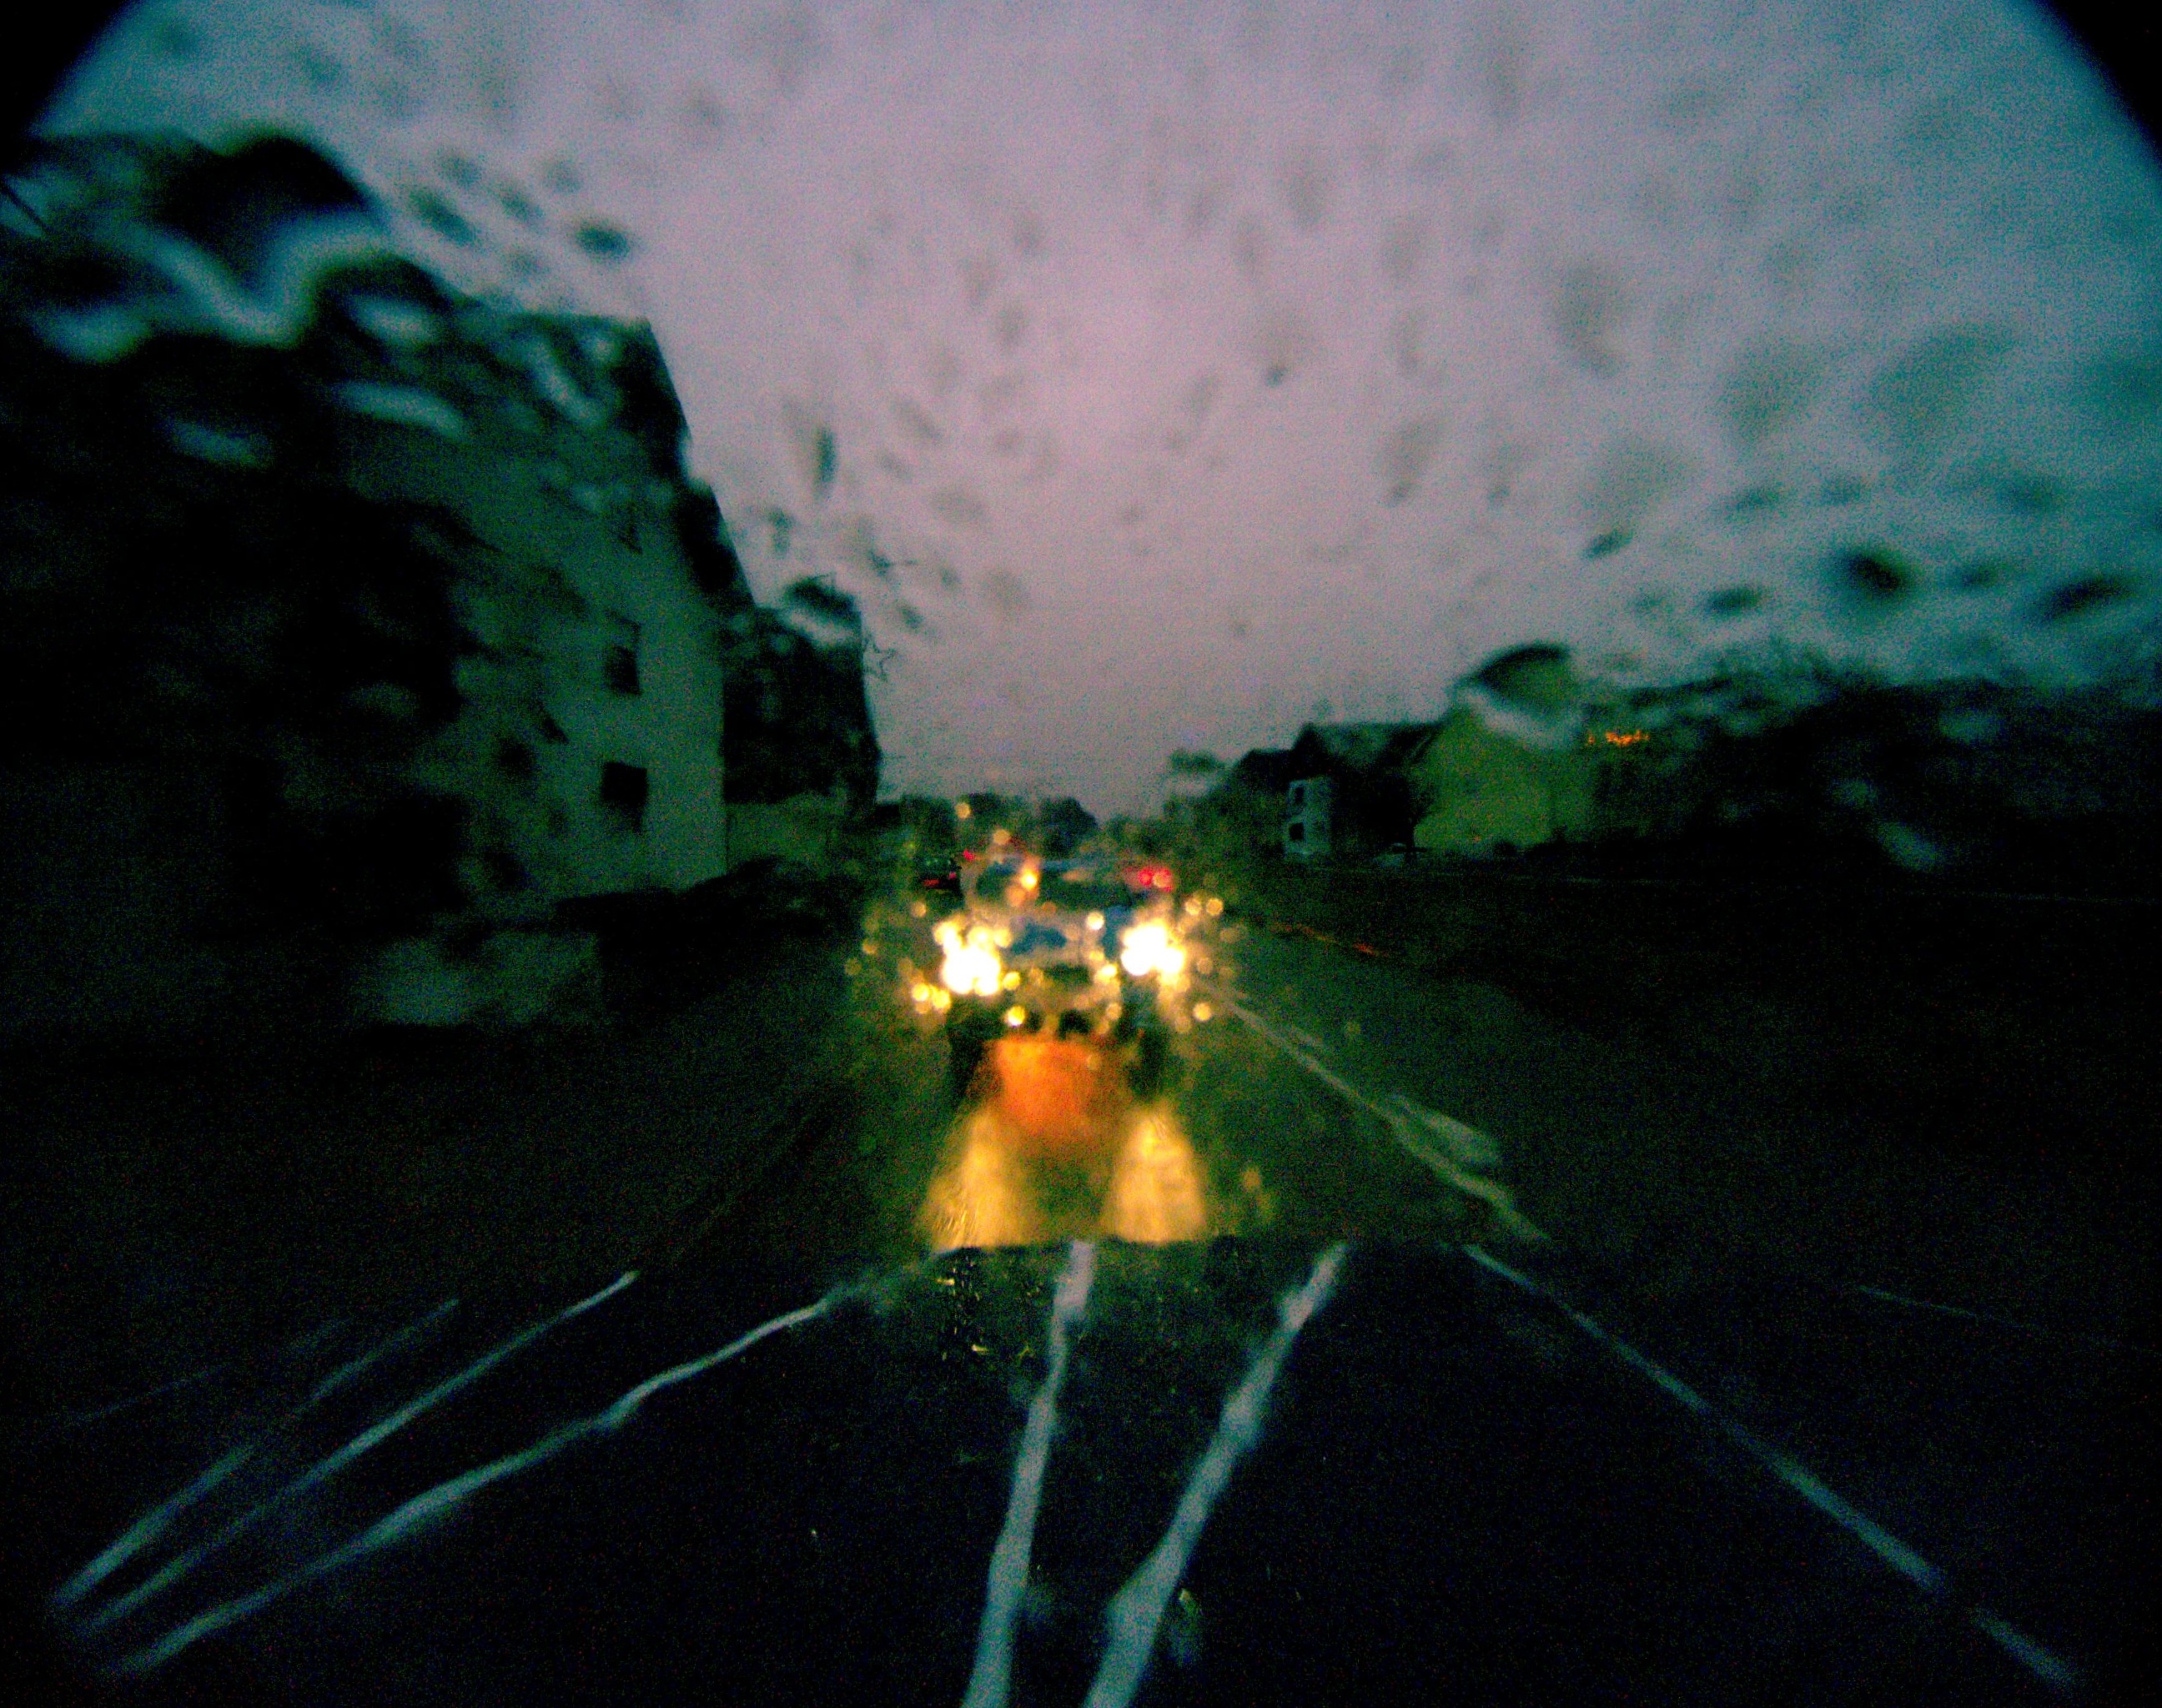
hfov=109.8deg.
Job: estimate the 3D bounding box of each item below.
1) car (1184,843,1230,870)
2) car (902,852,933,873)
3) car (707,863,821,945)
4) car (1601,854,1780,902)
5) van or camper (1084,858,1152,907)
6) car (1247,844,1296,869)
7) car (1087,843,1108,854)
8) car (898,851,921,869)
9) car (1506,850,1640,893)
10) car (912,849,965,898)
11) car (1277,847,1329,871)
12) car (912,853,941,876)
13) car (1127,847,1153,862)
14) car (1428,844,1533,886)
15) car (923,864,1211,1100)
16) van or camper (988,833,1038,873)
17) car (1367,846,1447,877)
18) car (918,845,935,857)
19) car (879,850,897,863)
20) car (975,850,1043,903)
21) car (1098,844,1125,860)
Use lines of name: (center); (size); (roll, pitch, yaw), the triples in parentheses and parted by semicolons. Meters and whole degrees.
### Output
car: (8.922, 0.118, 54.093); (1.806, 1.793, 3.855); (-1, 1, -15)
car: (-13.309, 0.637, 61.672); (1.964, 1.524, 5.001); (-4, 2, -17)
car: (-6.355, 0.928, 15.616); (1.772, 1.385, 3.908); (1, 0, -17)
car: (19.728, 0.728, 24.890); (1.880, 1.425, 4.498); (1, 0, -8)
van or camper: (1.071, 0.830, 23.586); (1.567, 1.347, 3.419); (0, 0, -6)
car: (14.010, 0.147, 55.982); (1.865, 1.672, 3.995); (-4, 2, -12)
car: (2.260, -0.747, 105.054); (1.682, 1.406, 3.827); (-4, 3, -17)
car: (-15.404, 0.502, 68.198); (1.671, 1.567, 4.489); (-1, 1, -17)
car: (19.140, 0.644, 29.839); (1.880, 1.563, 4.498); (1, 0, -8)
car: (-5.562, 0.700, 30.047); (1.775, 1.771, 3.997); (2, 0, -8)
car: (15.121, 0.297, 51.995); (1.775, 1.515, 4.027); (-1, 1, -12)
car: (-10.475, 0.689, 51.382); (1.658, 1.446, 4.232); (1, 0, -15)
car: (6.817, 0.024, 87.778); (1.823, 1.615, 3.980); (-4, 1, -12)
car: (18.237, 0.482, 34.939); (1.880, 1.768, 4.497); (1, 0, -10)
car: (-0.194, 0.938, 7.471); (1.999, 1.526, 3.999); (-3, 0, -3)
van or camper: (-4.874, -0.081, 53.695); (2.249, 2.653, 6.545); (-1, 0, -17)
car: (17.336, 0.383, 40.614); (1.880, 1.589, 4.221); (1, 0, -10)
car: (-21.715, -0.430, 106.878); (1.670, 1.626, 3.544); (-2, 1, -23)
car: (-24.092, 0.236, 94.835); (1.814, 1.555, 4.297); (-1, 1, -18)
car: (-2.727, 0.826, 27.711); (1.908, 1.630, 4.563); (-5, -1, -11)
car: (3.948, -0.307, 99.896); (2.001, 1.894, 4.350); (-4, 2, -18)
